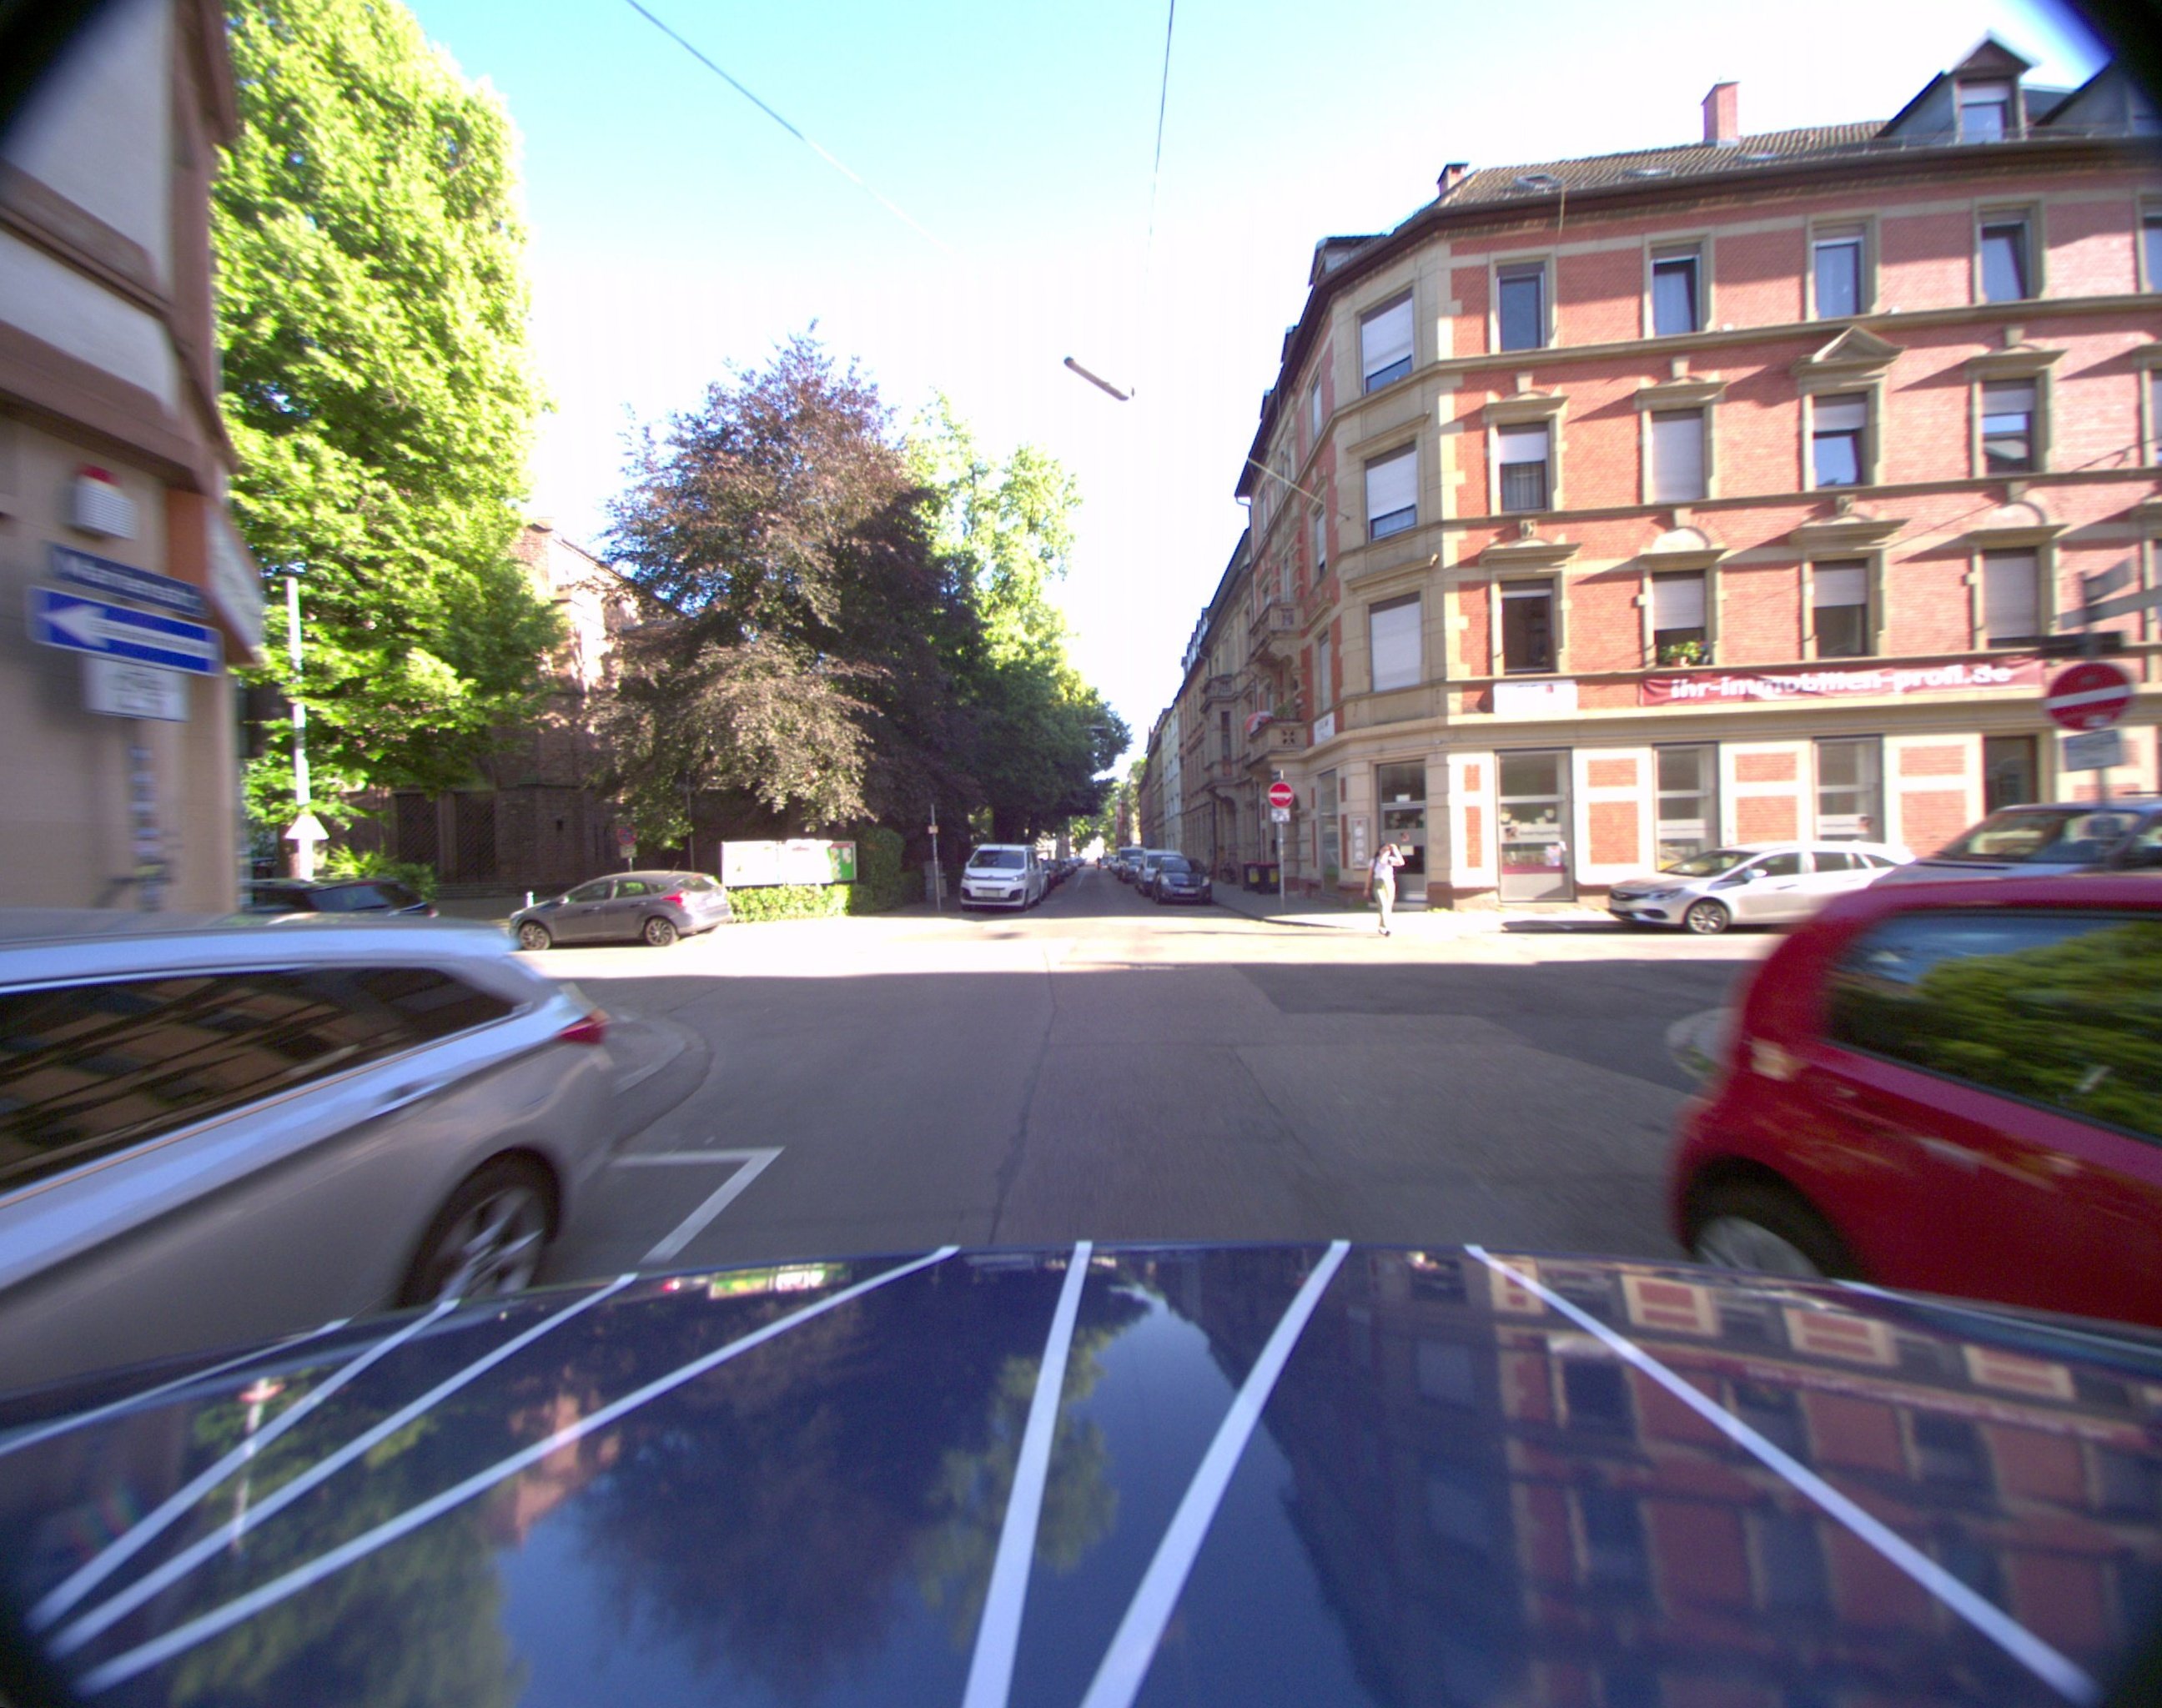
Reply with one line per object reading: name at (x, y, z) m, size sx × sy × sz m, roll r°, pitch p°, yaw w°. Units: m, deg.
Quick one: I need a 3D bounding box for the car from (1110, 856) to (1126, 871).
car at (4.300, 1.068, 88.866) m, size 1.713 × 1.664 × 4.278 m, roll 1°, pitch 1°, yaw 2°

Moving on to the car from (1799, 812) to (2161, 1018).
car at (10.891, 0.525, 7.875) m, size 4.721 × 1.884 × 2.027 m, roll -1°, pitch 2°, yaw 7°

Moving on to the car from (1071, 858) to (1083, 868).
car at (-0.579, 1.492, 124.135) m, size 1.845 × 1.643 × 4.000 m, roll 0°, pitch 0°, yaw 1°

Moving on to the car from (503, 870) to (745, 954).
car at (-9.398, 1.167, 15.836) m, size 3.928 × 1.431 × 1.798 m, roll -2°, pitch 2°, yaw 4°

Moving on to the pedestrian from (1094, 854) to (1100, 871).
pedestrian at (1.724, 0.898, 82.244) m, size 0.489 × 1.792 × 1.115 m, roll -4°, pitch 0°, yaw 3°

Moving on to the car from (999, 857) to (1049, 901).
car at (-2.129, 0.909, 29.226) m, size 1.723 × 1.561 × 3.827 m, roll -1°, pitch 0°, yaw -1°

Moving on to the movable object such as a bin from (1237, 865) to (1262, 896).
movable object such as a bin at (6.097, 0.947, 27.522) m, size 0.639 × 1.035 × 0.856 m, roll -3°, pitch 0°, yaw 1°

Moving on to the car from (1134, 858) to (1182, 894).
car at (3.464, 0.961, 34.819) m, size 1.697 × 1.505 × 3.972 m, roll 1°, pitch 0°, yaw -2°

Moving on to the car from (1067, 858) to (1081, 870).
car at (-0.924, 1.219, 94.987) m, size 1.713 × 1.511 × 3.831 m, roll 0°, pitch 1°, yaw 0°

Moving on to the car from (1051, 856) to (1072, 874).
car at (-1.617, 0.891, 64.261) m, size 1.603 × 1.462 × 3.869 m, roll 1°, pitch 1°, yaw 2°

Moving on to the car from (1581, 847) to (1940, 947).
car at (11.678, 0.710, 13.387) m, size 4.436 × 1.522 × 1.867 m, roll -1°, pitch 3°, yaw 7°

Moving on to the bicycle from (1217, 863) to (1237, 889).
bicycle at (6.336, 0.952, 33.012) m, size 0.572 × 1.035 × 1.546 m, roll -3°, pitch 0°, yaw 1°

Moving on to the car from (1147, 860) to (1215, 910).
car at (3.142, 0.938, 24.554) m, size 1.697 × 1.472 × 3.973 m, roll 1°, pitch 0°, yaw 1°

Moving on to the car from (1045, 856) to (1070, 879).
car at (-1.675, 0.952, 55.203) m, size 1.603 × 1.496 × 3.627 m, roll 3°, pitch 1°, yaw 0°

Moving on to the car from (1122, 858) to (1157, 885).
car at (3.380, 0.989, 44.557) m, size 1.771 × 1.505 × 4.193 m, roll 1°, pitch 0°, yaw 0°

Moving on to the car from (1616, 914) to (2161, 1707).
car at (2.551, 0.933, 0.671) m, size 1.632 × 1.472 × 3.601 m, roll 1°, pitch 0°, yaw 1°

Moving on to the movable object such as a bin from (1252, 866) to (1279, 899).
movable object such as a bin at (6.126, 0.945, 25.276) m, size 0.639 × 1.035 × 0.856 m, roll -3°, pitch 0°, yaw 1°

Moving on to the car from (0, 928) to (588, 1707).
car at (-2.790, 1.036, 0.786) m, size 1.748 × 1.498 × 4.357 m, roll 1°, pitch 0°, yaw -1°

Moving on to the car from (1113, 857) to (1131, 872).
car at (4.203, 1.091, 78.166) m, size 1.713 × 1.408 × 3.803 m, roll 1°, pitch 1°, yaw 2°

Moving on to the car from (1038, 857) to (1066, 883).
car at (-1.898, 0.978, 49.379) m, size 1.680 × 1.433 × 4.693 m, roll 3°, pitch 1°, yaw -3°

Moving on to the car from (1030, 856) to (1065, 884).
car at (-1.939, 0.893, 44.818) m, size 1.622 × 1.478 × 3.776 m, roll 3°, pitch 1°, yaw 3°

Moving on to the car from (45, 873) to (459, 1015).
car at (-11.005, 1.153, 10.248) m, size 3.927 × 1.599 × 1.762 m, roll -2°, pitch 2°, yaw 8°

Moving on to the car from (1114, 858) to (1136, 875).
car at (3.888, 1.062, 67.640) m, size 1.735 × 1.447 × 4.521 m, roll 1°, pitch 0°, yaw 1°

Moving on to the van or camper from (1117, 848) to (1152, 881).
van or camper at (3.543, 0.675, 50.858) m, size 2.182 × 2.135 × 5.155 m, roll 1°, pitch 0°, yaw 3°

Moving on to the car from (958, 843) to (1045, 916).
car at (-2.312, 0.712, 23.442) m, size 1.918 × 1.986 × 4.793 m, roll 1°, pitch 0°, yaw 3°

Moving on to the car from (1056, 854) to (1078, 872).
car at (-1.291, 0.811, 72.535) m, size 1.668 × 1.577 × 4.101 m, roll 3°, pitch 1°, yaw 3°

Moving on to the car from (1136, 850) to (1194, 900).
car at (3.238, 0.789, 30.024) m, size 1.835 × 1.801 × 4.572 m, roll 1°, pitch 0°, yaw 1°

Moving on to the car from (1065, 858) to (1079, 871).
car at (-1.030, 1.236, 89.617) m, size 1.625 × 1.428 × 4.002 m, roll 0°, pitch 0°, yaw 0°

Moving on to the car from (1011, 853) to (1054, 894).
car at (-2.191, 0.817, 34.499) m, size 1.744 × 1.594 × 4.262 m, roll 3°, pitch 1°, yaw -3°

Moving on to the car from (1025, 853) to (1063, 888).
car at (-1.909, 0.821, 40.049) m, size 1.622 × 1.615 × 3.864 m, roll 3°, pitch 1°, yaw 2°

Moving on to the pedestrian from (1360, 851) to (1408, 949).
pedestrian at (5.335, 0.789, 13.399) m, size 0.549 × 1.635 × 0.717 m, roll -2°, pitch 2°, yaw 1°

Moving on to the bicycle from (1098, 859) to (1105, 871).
bicycle at (2.245, 1.144, 82.185) m, size 0.571 × 1.236 × 1.845 m, roll -4°, pitch 0°, yaw 4°
